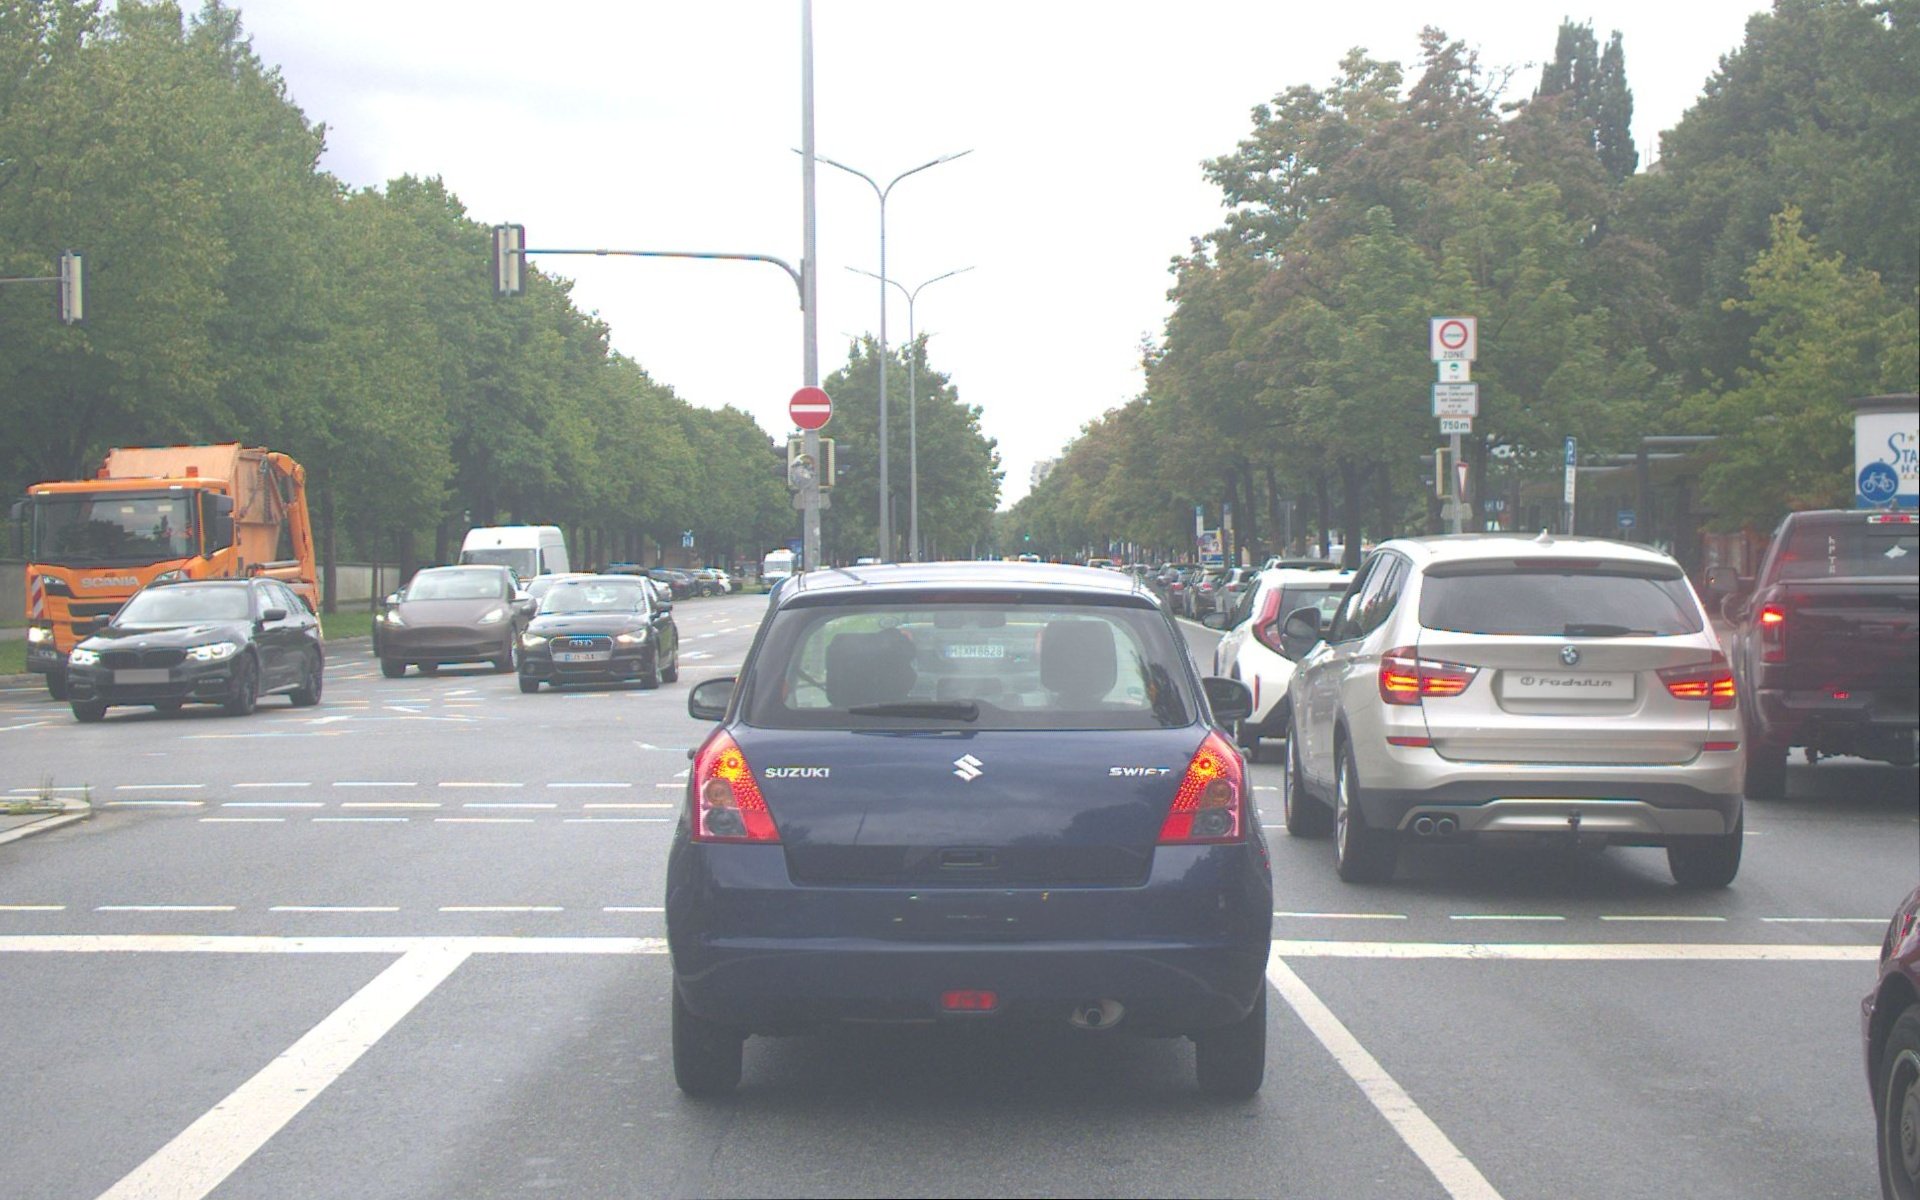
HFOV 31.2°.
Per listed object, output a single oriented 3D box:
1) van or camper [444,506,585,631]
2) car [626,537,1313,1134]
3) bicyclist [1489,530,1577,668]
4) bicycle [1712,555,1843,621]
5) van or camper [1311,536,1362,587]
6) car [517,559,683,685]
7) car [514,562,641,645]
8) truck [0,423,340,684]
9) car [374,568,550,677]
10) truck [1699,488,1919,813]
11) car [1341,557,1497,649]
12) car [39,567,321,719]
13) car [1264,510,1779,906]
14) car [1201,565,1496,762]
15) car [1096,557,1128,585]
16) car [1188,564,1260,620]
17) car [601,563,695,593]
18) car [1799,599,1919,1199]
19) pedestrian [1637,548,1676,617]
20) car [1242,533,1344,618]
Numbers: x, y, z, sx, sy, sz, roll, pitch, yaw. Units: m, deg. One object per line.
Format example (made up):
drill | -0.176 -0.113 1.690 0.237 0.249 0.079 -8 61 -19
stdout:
van or camper | -10.139 -0.737 78.831 2.178 2.638 6.951 -2 1 0
car | -0.004 0.591 10.984 1.789 1.550 4.000 0 1 -1
bicyclist | 7.403 -0.017 44.435 0.825 1.758 0.746 -1 0 -34
bicycle | 15.663 -0.226 65.873 2.338 1.153 0.529 -3 1 1
van or camper | 19.112 -1.947 174.798 2.024 2.549 5.956 -1 1 1
car | -4.423 0.242 42.681 1.639 1.482 3.781 0 1 0
car | -7.121 0.039 64.424 1.727 1.482 4.742 0 1 1
truck | -10.815 -0.622 47.734 2.781 3.345 7.265 0 0 3
car | -7.370 0.296 51.296 1.862 1.536 4.749 -1 1 1
truck | 6.418 0.276 24.067 2.099 2.007 5.810 0 1 9
car | 7.084 0.022 53.448 1.710 1.356 4.622 0 1 -1
car | -8.381 0.416 37.388 1.926 1.457 4.899 -2 1 0
car | 2.664 0.454 17.229 1.850 1.737 4.098 0 1 -1
car | 3.034 0.451 27.614 1.850 1.442 4.098 0 1 -1
car | 8.451 -1.603 191.301 1.684 1.520 4.455 1 1 2
car | 7.280 -0.238 95.074 1.717 1.503 4.223 0 1 1
car | -14.629 -1.017 161.081 3.987 1.349 1.851 -1 1 -34
car | 2.775 0.742 6.091 1.622 1.449 3.950 0 1 0
pedestrian | 15.150 -0.383 74.794 0.578 1.508 0.694 0 1 -17
car | 7.003 -0.541 72.751 1.747 1.718 4.906 1 1 1
